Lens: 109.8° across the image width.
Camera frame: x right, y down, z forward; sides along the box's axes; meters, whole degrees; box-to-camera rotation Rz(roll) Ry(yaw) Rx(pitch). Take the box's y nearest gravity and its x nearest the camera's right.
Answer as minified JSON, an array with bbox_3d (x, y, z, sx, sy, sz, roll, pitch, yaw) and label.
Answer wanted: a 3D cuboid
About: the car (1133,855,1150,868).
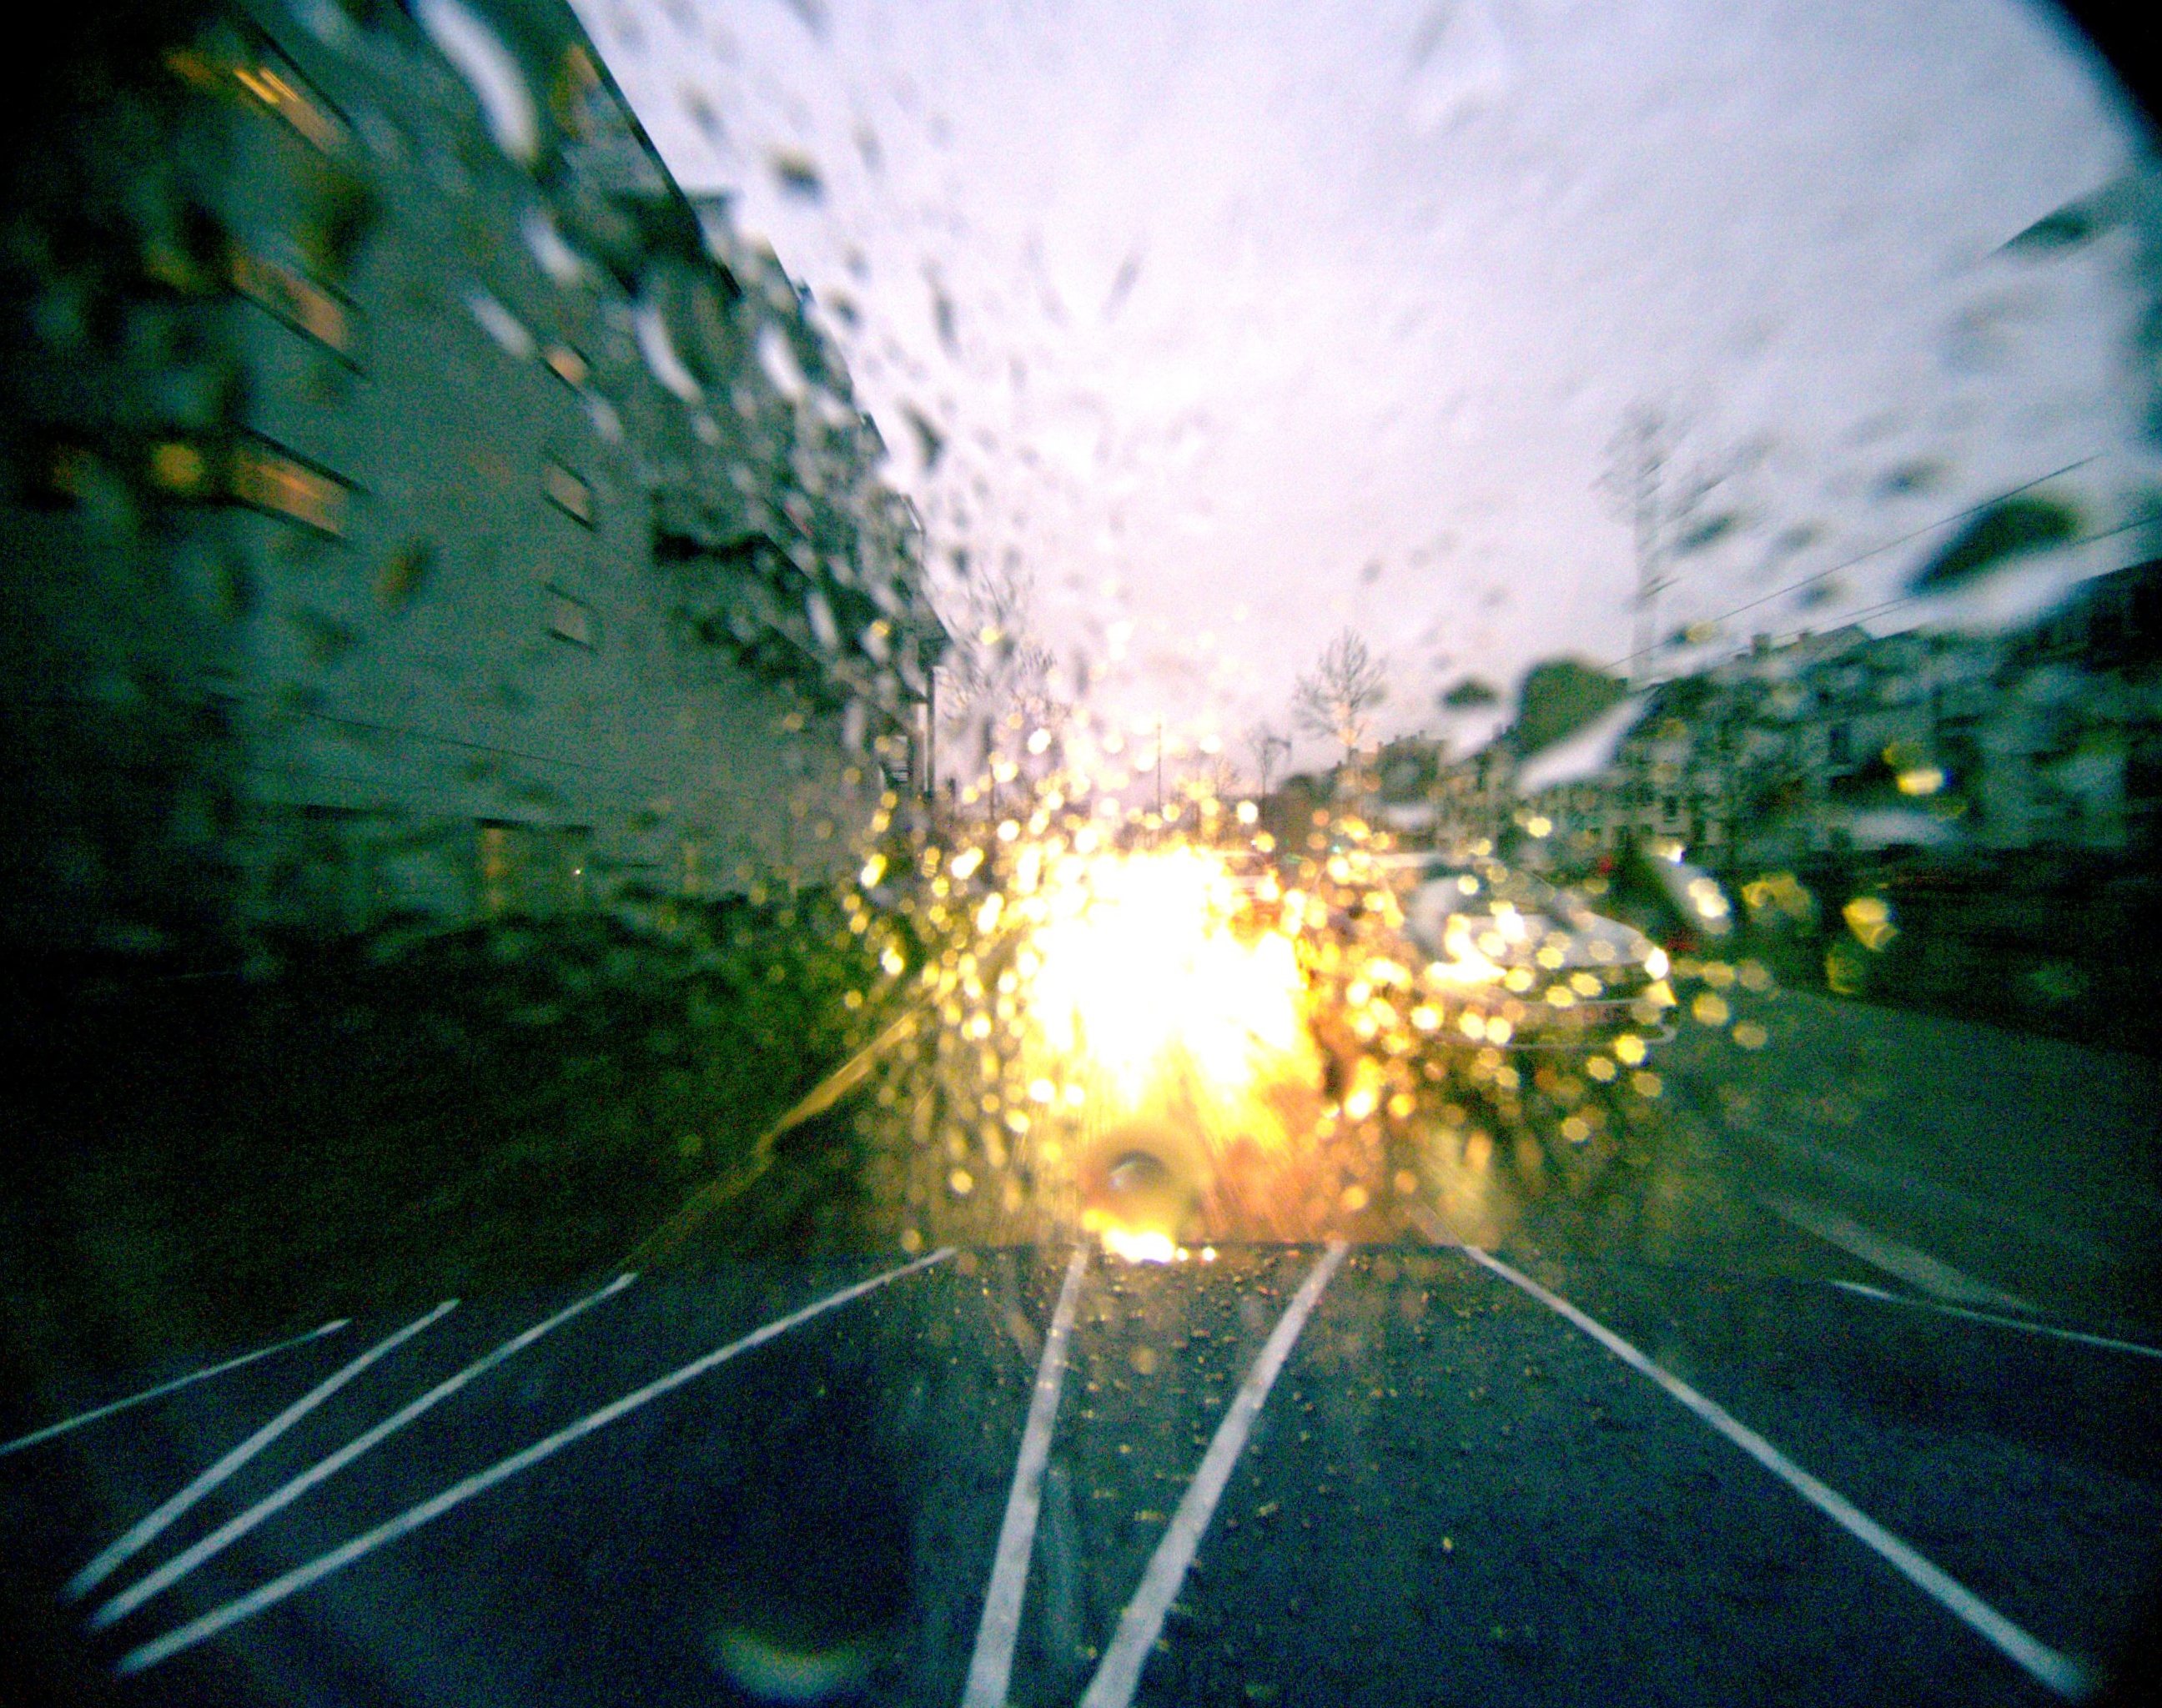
[{"bbox_3d":[6.555,0.852,82.441,1.523,1.309,3.436,-2,0,1],"label":"car"}]

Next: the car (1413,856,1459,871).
[{"bbox_3d":[32.318,0.850,69.214,3.562,1.134,1.740,-3,0,33],"label":"car"}]

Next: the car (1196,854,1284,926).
[{"bbox_3d":[3.788,0.801,18.692,1.637,1.510,3.909,-2,0,5],"label":"car"}]

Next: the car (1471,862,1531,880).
[{"bbox_3d":[31.739,1.265,57.441,3.811,1.165,1.741,-3,0,34],"label":"car"}]

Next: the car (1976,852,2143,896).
[{"bbox_3d":[31.540,0.666,24.623,3.088,1.295,1.391,-2,0,42],"label":"car"}]

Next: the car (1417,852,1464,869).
[{"bbox_3d":[31.774,0.587,67.211,3.571,1.301,1.689,-3,0,31],"label":"car"}]

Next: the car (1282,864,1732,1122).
[{"bbox_3d":[3.128,0.877,6.640,1.692,1.465,4.001,-2,0,1],"label":"car"}]

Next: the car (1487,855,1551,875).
[{"bbox_3d":[31.411,0.768,54.554,3.834,1.238,1.741,-3,0,33],"label":"car"}]

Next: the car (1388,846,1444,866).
[{"bbox_3d":[32.303,0.224,73.333,4.646,1.713,1.837,-3,0,34],"label":"car"}]

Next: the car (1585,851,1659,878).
[{"bbox_3d":[31.587,0.619,44.364,3.376,1.413,1.673,-2,0,39],"label":"car"}]

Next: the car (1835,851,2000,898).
[{"bbox_3d":[31.220,0.784,28.530,3.839,1.579,1.745,-2,0,33],"label":"car"}]

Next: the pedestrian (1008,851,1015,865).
[{"bbox_3d":[-8.933,0.571,97.859,0.673,1.767,0.615,-2,1,14],"label":"pedestrian"}]

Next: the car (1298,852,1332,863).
[{"bbox_3d":[32.498,0.496,105.751,4.095,1.154,1.715,-4,1,40],"label":"car"}]

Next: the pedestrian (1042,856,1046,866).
[{"bbox_3d":[-6.299,1.212,130.931,0.669,1.646,0.994,0,1,-5],"label":"pedestrian"}]

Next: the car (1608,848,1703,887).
[{"bbox_3d":[25.769,0.589,34.233,1.618,1.613,3.509,-2,0,1],"label":"car"}]

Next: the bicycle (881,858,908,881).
[{"bbox_3d":[-10.830,0.885,44.255,0.411,1.277,1.747,-2,0,28],"label":"bicycle"}]

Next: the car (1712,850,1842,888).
[{"bbox_3d":[31.431,0.694,34.485,4.151,1.532,1.673,-2,0,37],"label":"car"}]

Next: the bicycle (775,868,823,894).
[{"bbox_3d":[-11.555,1.090,31.160,1.813,1.045,0.397,0,1,-1],"label":"bicycle"}]

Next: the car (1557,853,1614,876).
[{"bbox_3d":[31.741,0.673,47.861,2.929,1.328,1.741,-3,0,33],"label":"car"}]

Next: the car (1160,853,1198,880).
[{"bbox_3d":[5.806,0.736,45.393,1.905,1.475,3.656,-2,0,3],"label":"car"}]

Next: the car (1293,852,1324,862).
[{"bbox_3d":[32.526,0.419,108.757,4.034,1.223,1.351,-4,1,37],"label":"car"}]

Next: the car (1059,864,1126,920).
[{"bbox_3d":[0.313,0.994,21.338,1.669,1.325,3.787,-2,0,0],"label":"car"}]

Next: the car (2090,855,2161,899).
[{"bbox_3d":[31.159,0.627,21.507,2.880,1.196,1.391,-2,0,42],"label":"car"}]

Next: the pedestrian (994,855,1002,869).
[{"bbox_3d":[-9.846,0.968,89.909,0.673,1.615,0.615,-2,1,16],"label":"pedestrian"}]

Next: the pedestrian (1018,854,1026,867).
[{"bbox_3d":[-7.113,0.799,91.932,0.673,1.603,0.615,-2,1,14],"label":"pedestrian"}]

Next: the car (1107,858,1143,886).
[{"bbox_3d":[2.344,0.946,41.368,1.737,1.311,3.803,-2,0,0],"label":"car"}]
